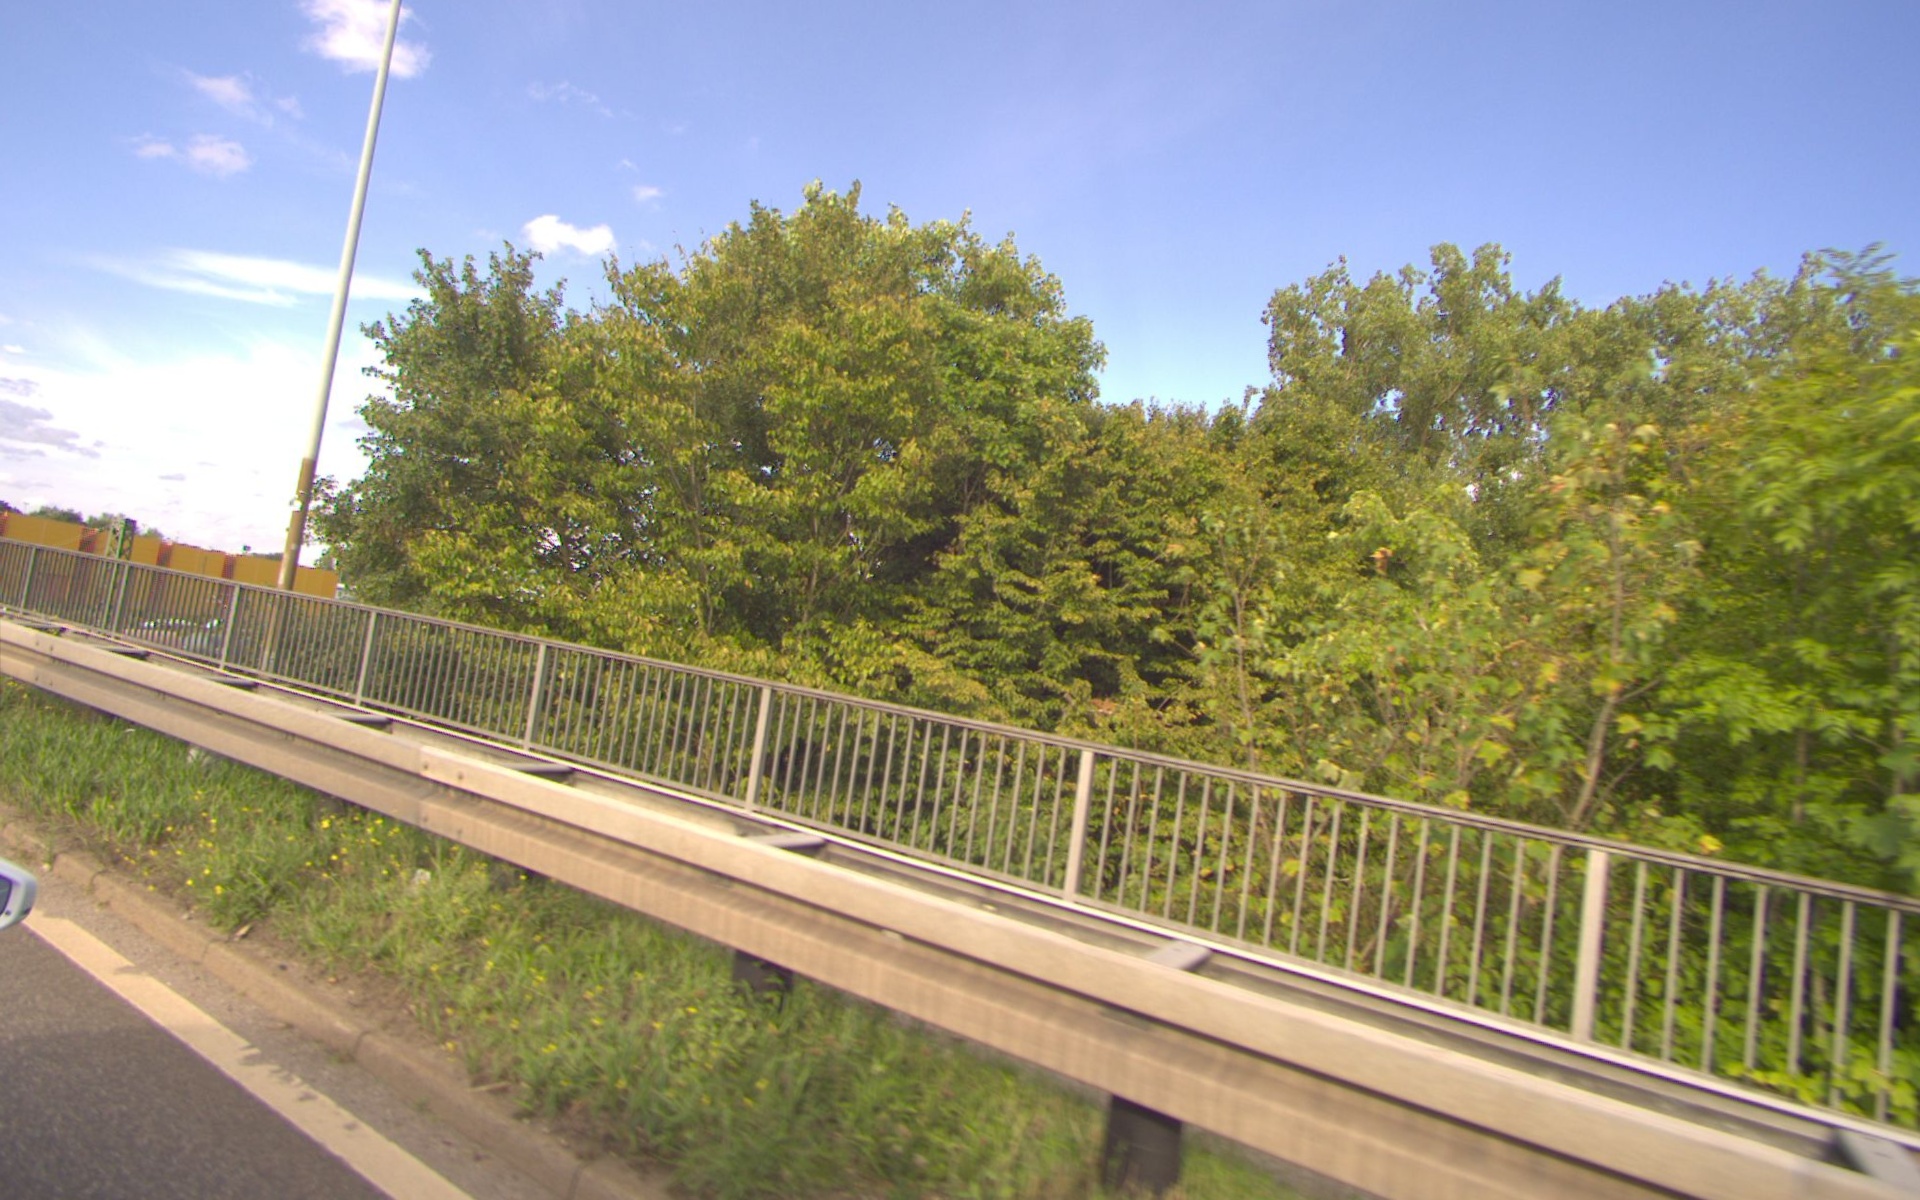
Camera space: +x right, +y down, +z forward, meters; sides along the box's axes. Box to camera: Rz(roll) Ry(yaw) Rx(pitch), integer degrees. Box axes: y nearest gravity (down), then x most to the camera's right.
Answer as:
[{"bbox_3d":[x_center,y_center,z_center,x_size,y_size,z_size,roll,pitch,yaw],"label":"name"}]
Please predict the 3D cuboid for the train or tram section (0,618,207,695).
[{"bbox_3d":[-64.100,4.080,74.642,3.039,4.765,16.765,8,-2,1],"label":"train or tram section"}]
